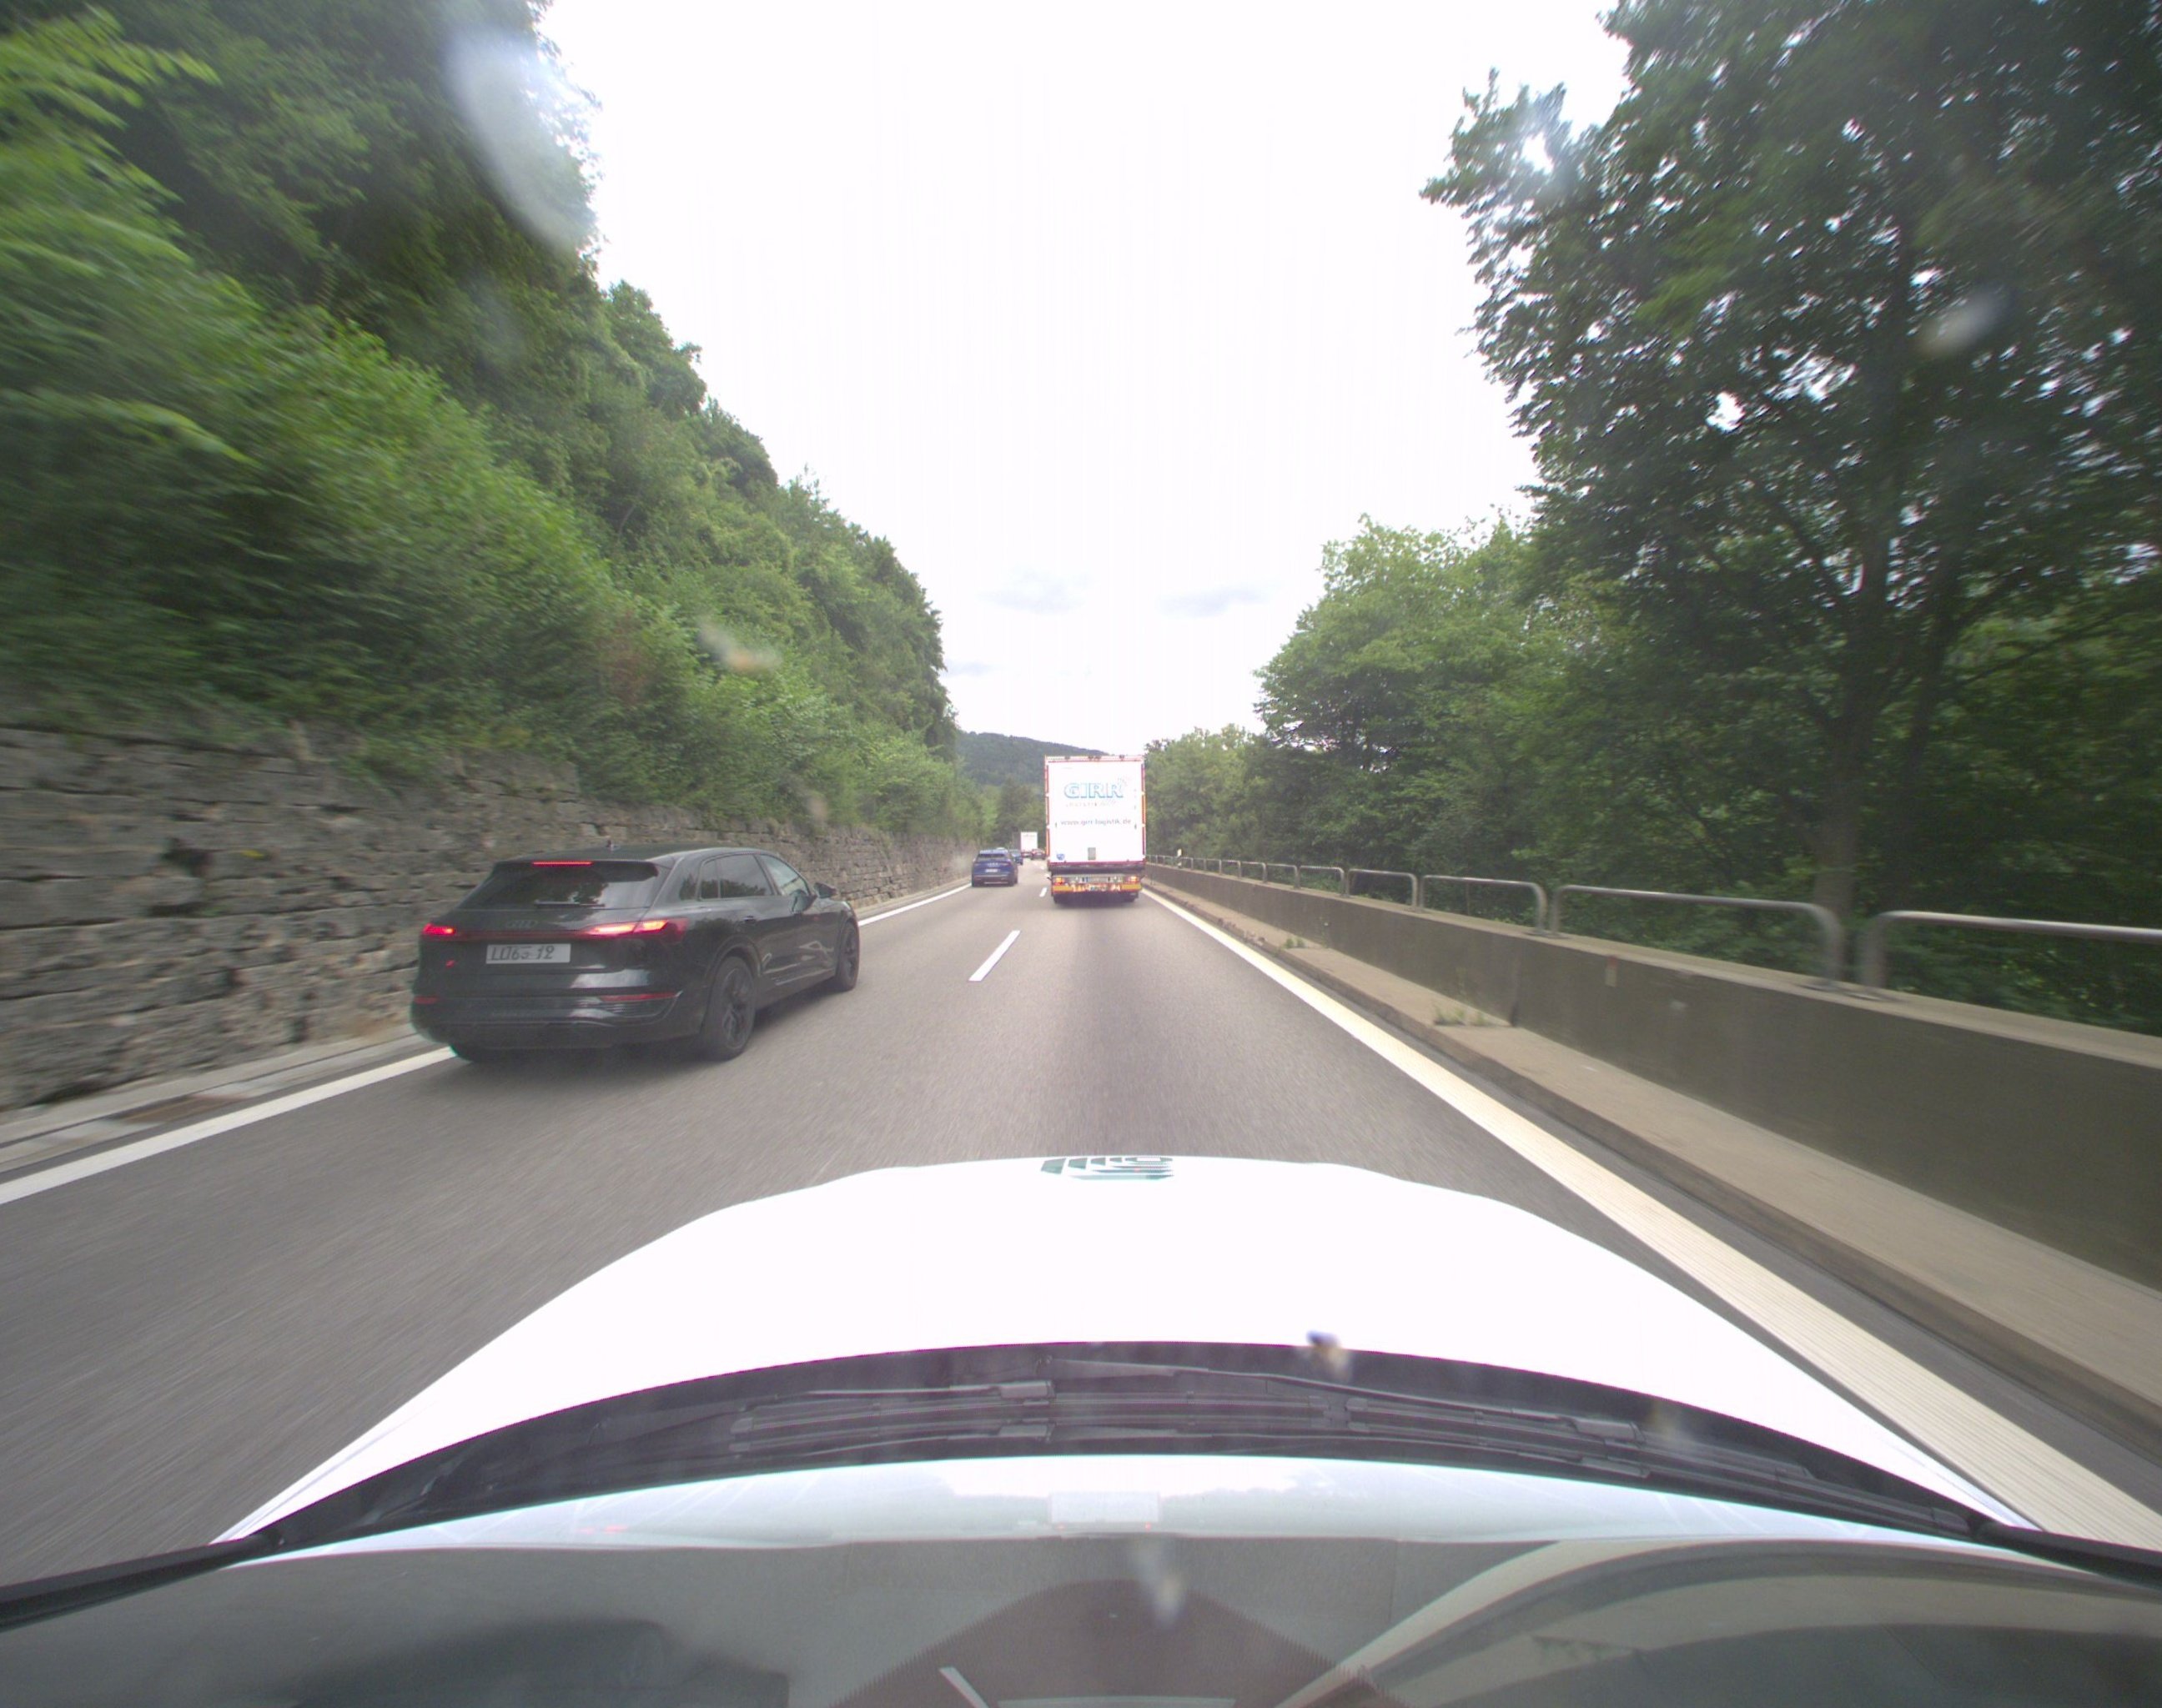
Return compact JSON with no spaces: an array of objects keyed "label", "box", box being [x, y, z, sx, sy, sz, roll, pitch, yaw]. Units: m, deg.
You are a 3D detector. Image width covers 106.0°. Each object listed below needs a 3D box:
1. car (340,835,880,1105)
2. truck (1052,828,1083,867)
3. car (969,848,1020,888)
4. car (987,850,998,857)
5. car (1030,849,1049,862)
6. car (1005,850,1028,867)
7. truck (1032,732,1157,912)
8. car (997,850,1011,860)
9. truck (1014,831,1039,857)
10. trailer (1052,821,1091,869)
[{"label":"car","box":[-3.469,0.696,7.440,1.987,1.632,5.008,0,0,0]},{"label":"truck","box":[-1.101,-0.497,63.106,2.204,2.851,4.998,0,0,-3]},{"label":"car","box":[-3.839,0.580,37.010,1.989,1.632,5.003,-1,0,-3]},{"label":"car","box":[-18.026,-0.113,165.054,1.897,1.550,4.234,0,0,-11]},{"label":"car","box":[-5.425,0.210,105.304,2.060,1.654,3.988,-1,0,-9]},{"label":"car","box":[-6.280,0.465,79.426,1.992,1.596,4.342,0,0,-8]},{"label":"truck","box":[0.227,-0.852,28.171,3.075,4.464,15.148,-1,0,-1]},{"label":"car","box":[-11.887,0.135,125.189,1.897,1.550,4.235,0,0,-10]},{"label":"truck","box":[-8.567,-1.519,127.008,2.634,3.857,12.318,-1,0,-10]},{"label":"trailer","box":[-0.790,-0.571,57.488,2.207,3.048,11.125,0,0,-3]}]
